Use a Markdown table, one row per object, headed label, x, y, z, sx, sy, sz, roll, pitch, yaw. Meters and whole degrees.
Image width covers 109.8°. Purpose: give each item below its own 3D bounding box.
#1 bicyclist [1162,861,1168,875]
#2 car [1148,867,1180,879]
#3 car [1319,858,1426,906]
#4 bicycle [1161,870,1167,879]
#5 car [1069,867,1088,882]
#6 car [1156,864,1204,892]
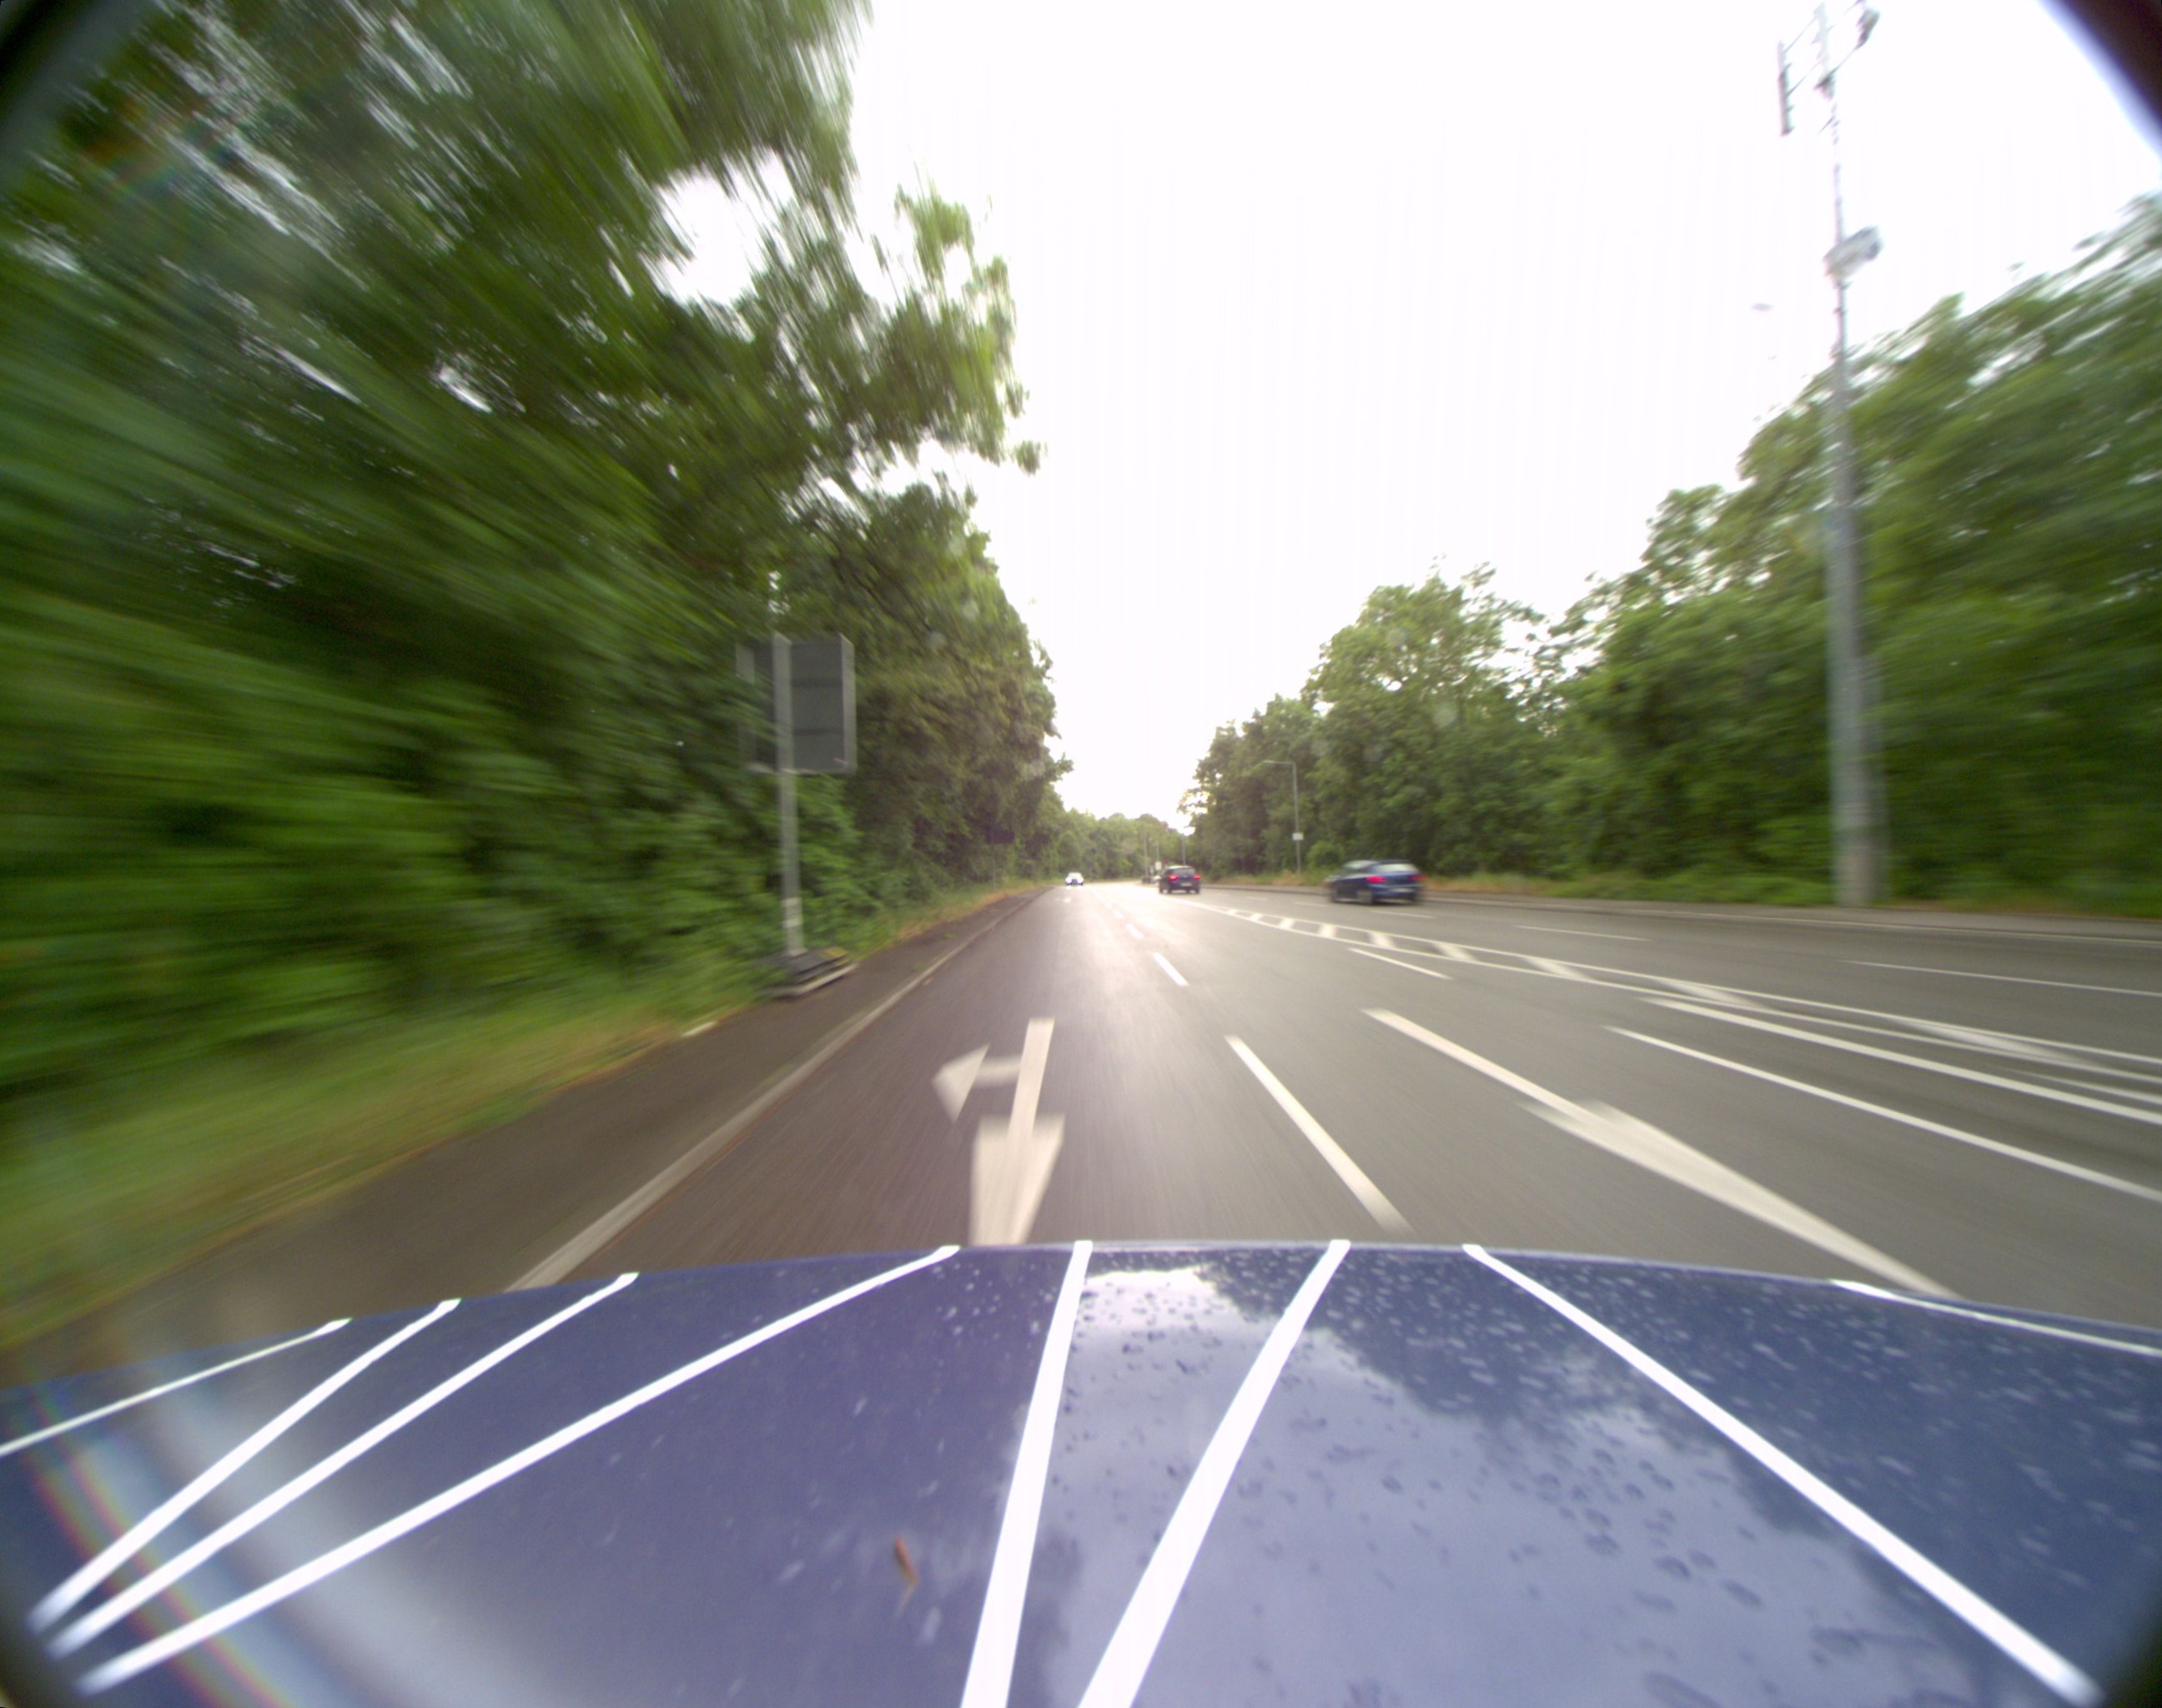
| label | x | y | z | sx | sy | sz | roll | pitch | yaw |
| --- | --- | --- | --- | --- | --- | --- | --- | --- | --- |
| bicyclist | 9.239 | 1.551 | 83.601 | 0.580 | 1.576 | 0.700 | 0 | 0 | 0 |
| car | 12.667 | 2.894 | 115.864 | 4.752 | 1.706 | 1.895 | -2 | 0 | 5 |
| car | 9.383 | 0.858 | 24.777 | 1.636 | 1.386 | 3.998 | -2 | 0 | -5 |
| bicycle | 9.137 | 2.259 | 83.520 | 0.453 | 0.997 | 2.018 | -3 | -2 | 1 |
| car | -0.229 | 2.147 | 80.342 | 1.998 | 1.576 | 4.000 | 0 | -1 | 0 |
| car | 5.410 | 1.274 | 41.794 | 1.706 | 1.419 | 4.077 | -1 | -1 | -6 |
